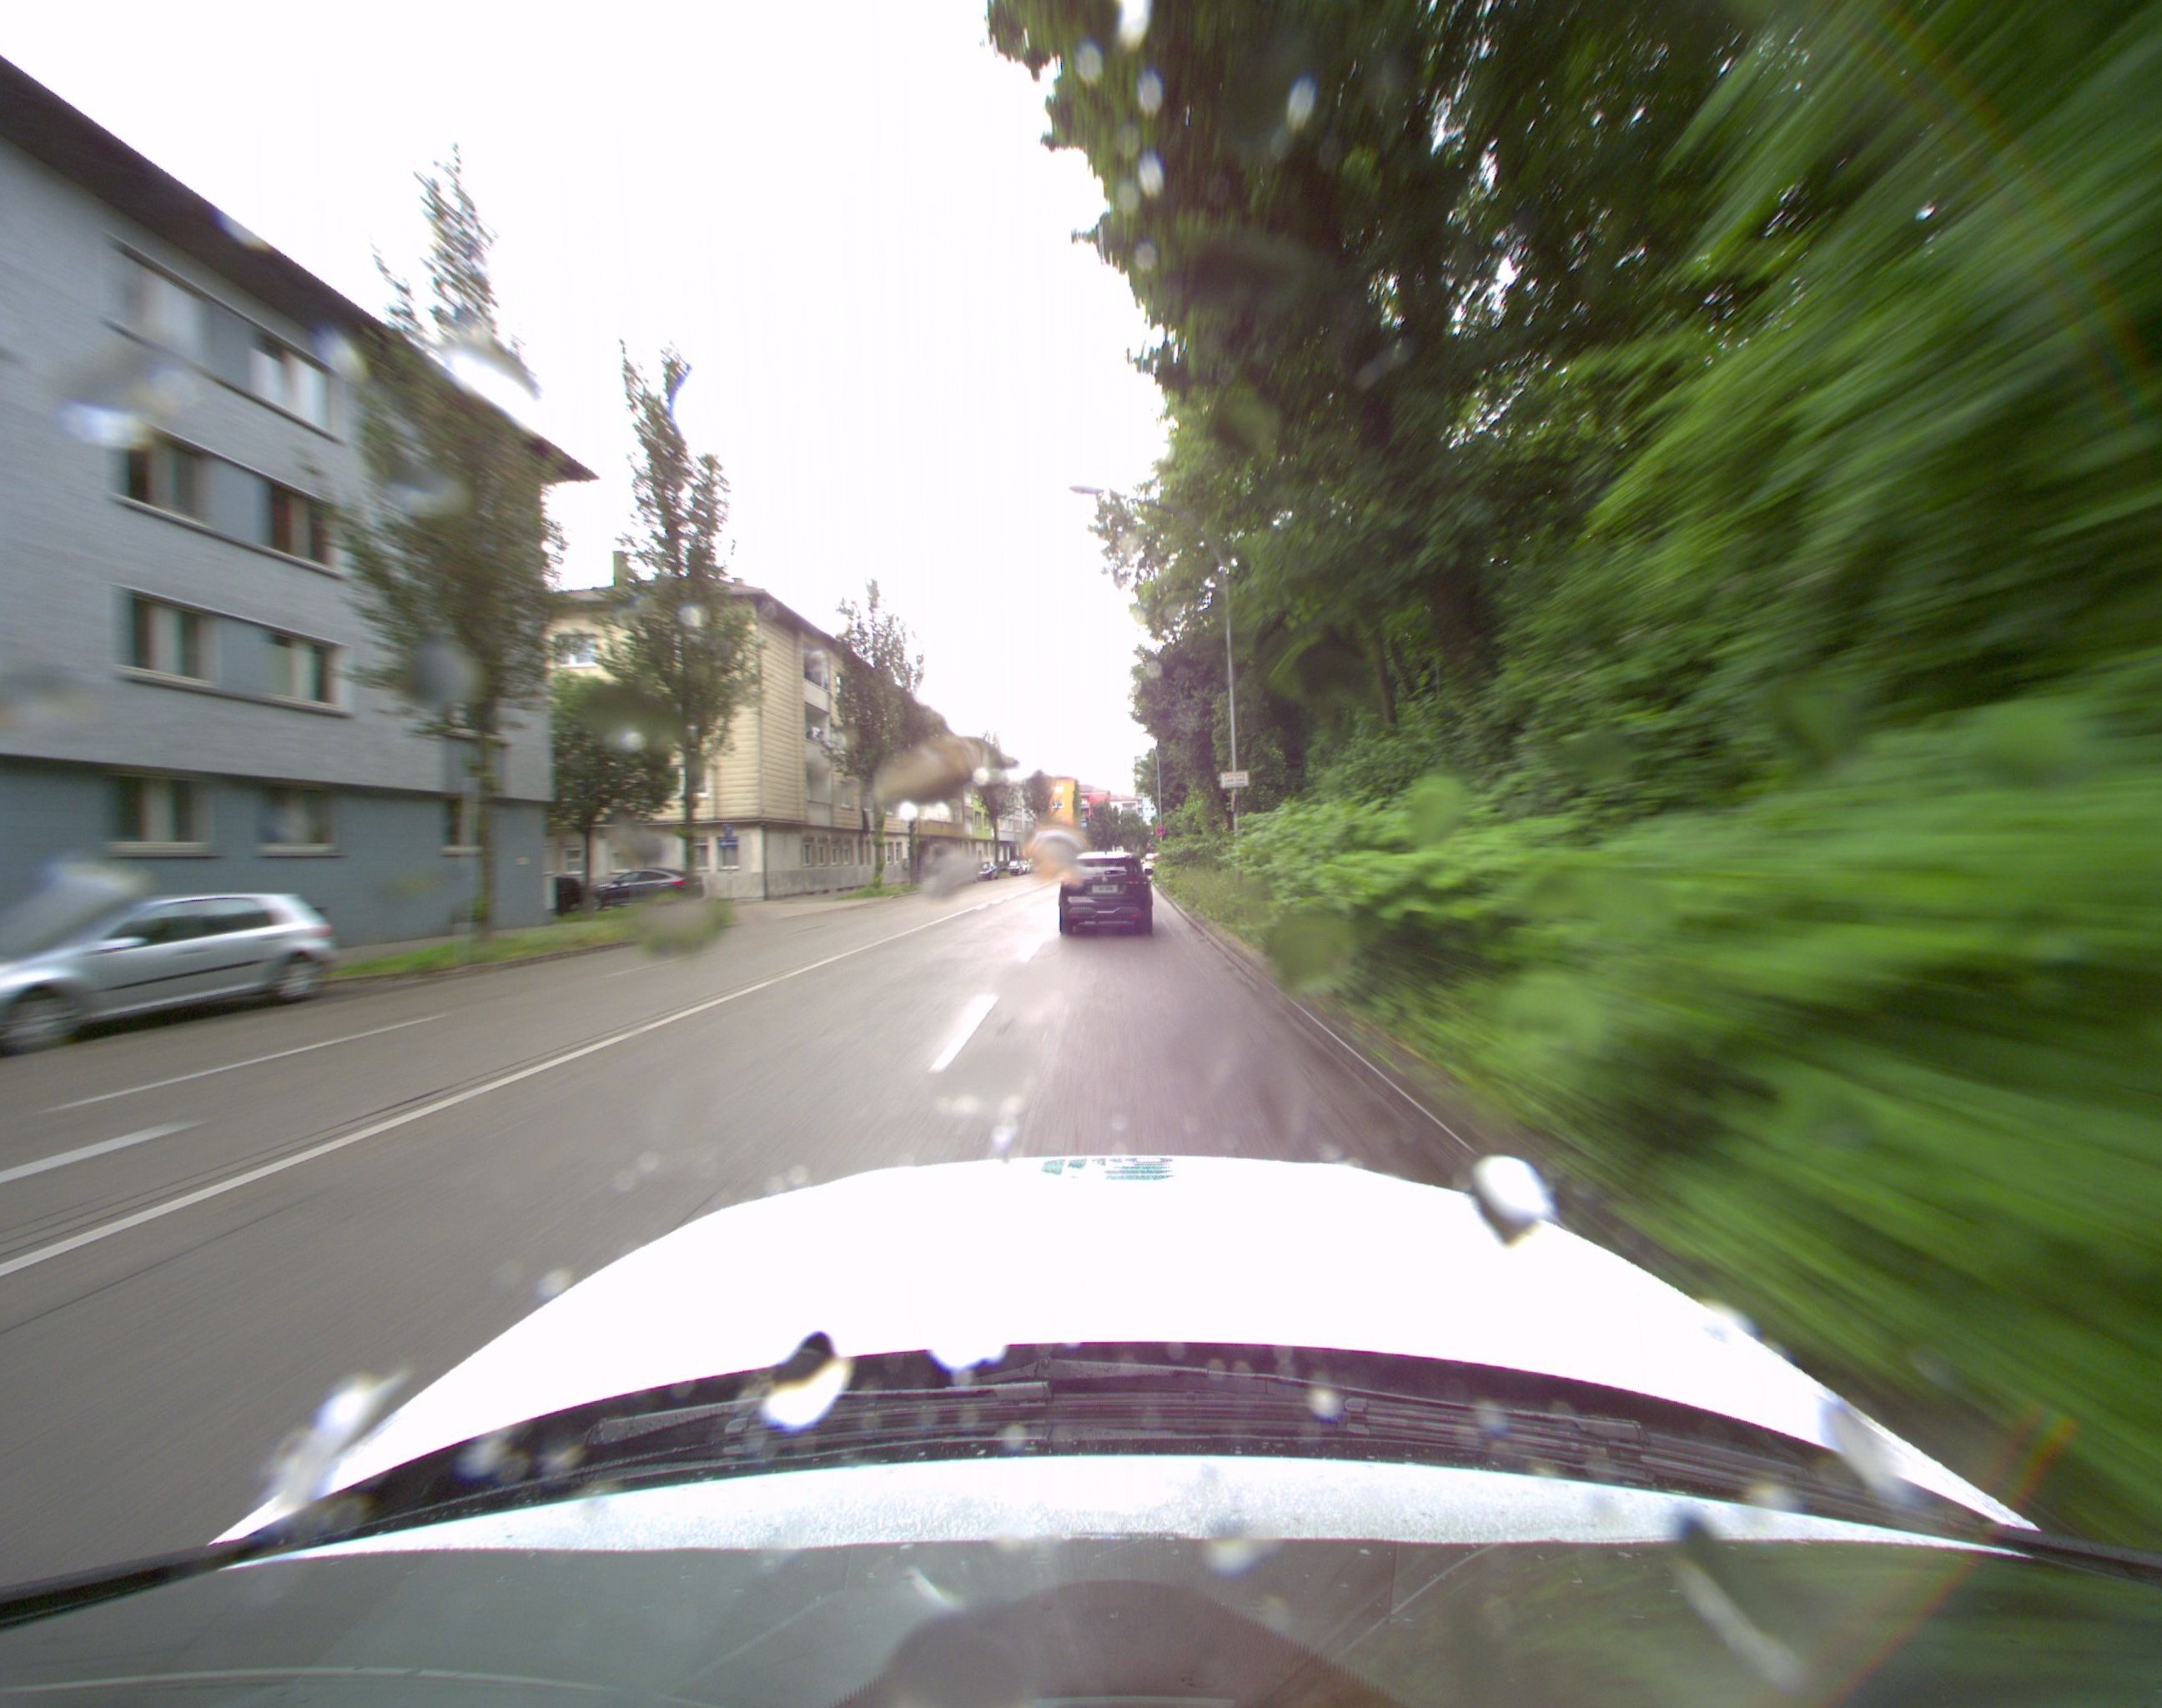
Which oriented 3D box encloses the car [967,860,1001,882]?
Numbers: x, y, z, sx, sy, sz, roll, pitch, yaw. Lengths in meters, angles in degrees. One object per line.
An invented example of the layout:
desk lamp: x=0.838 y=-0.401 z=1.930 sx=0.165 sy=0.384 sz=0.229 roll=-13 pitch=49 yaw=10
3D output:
car: x=-7.562 y=1.327 z=64.192 sx=1.710 sy=1.488 sz=4.520 roll=-4 pitch=0 yaw=4

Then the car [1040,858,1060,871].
car: x=-3.779 y=1.257 z=100.086 sx=1.679 sy=1.358 sz=4.587 roll=-5 pitch=0 yaw=6

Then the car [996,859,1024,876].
car: x=-6.551 y=1.201 z=75.943 sx=1.809 sy=1.372 sz=4.685 roll=-4 pitch=0 yaw=3

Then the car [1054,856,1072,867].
car: x=-2.443 y=1.006 z=111.277 sx=1.703 sy=1.425 sz=4.332 roll=-4 pitch=0 yaw=7

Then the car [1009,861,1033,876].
car: x=-5.987 y=1.432 z=81.672 sx=1.672 sy=1.376 sz=4.006 roll=-4 pitch=0 yaw=5

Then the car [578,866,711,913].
car: x=-17.202 y=1.391 z=32.233 sx=4.131 sy=1.579 sz=1.928 roll=-2 pitch=1 yaw=3

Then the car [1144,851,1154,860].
car: x=12.264 y=0.304 z=145.928 sx=1.698 sy=1.478 sz=3.686 roll=-3 pitch=0 yaw=6

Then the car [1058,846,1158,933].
car: x=0.578 y=0.650 z=17.142 sx=1.838 sy=1.582 sz=4.002 roll=-1 pitch=0 yaw=2

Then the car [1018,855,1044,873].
car: x=-5.332 y=1.074 z=87.175 sx=1.881 sy=1.766 sz=4.609 roll=-3 pitch=0 yaw=7

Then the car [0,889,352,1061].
car: x=-10.987 y=1.251 z=9.166 sx=1.719 sy=1.453 sz=4.205 roll=-3 pitch=0 yaw=0

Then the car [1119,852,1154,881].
car: x=3.538 y=0.746 z=51.296 sx=1.876 sy=1.711 sz=4.009 roll=-1 pitch=0 yaw=7

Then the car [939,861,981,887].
car: x=-8.136 y=1.304 z=55.316 sx=1.810 sy=1.488 sz=4.794 roll=-4 pitch=0 yaw=3

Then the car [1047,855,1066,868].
car: x=-3.176 y=0.957 z=105.539 sx=1.671 sy=1.449 sz=4.285 roll=-5 pitch=0 yaw=7

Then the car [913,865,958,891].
car: x=-8.697 y=1.411 z=48.899 sx=1.618 sy=1.387 sz=3.993 roll=-3 pitch=0 yaw=4

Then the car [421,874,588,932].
car: x=-17.882 y=1.487 z=25.360 sx=4.023 sy=1.494 sz=1.692 roll=-2 pitch=-2 yaw=-43
